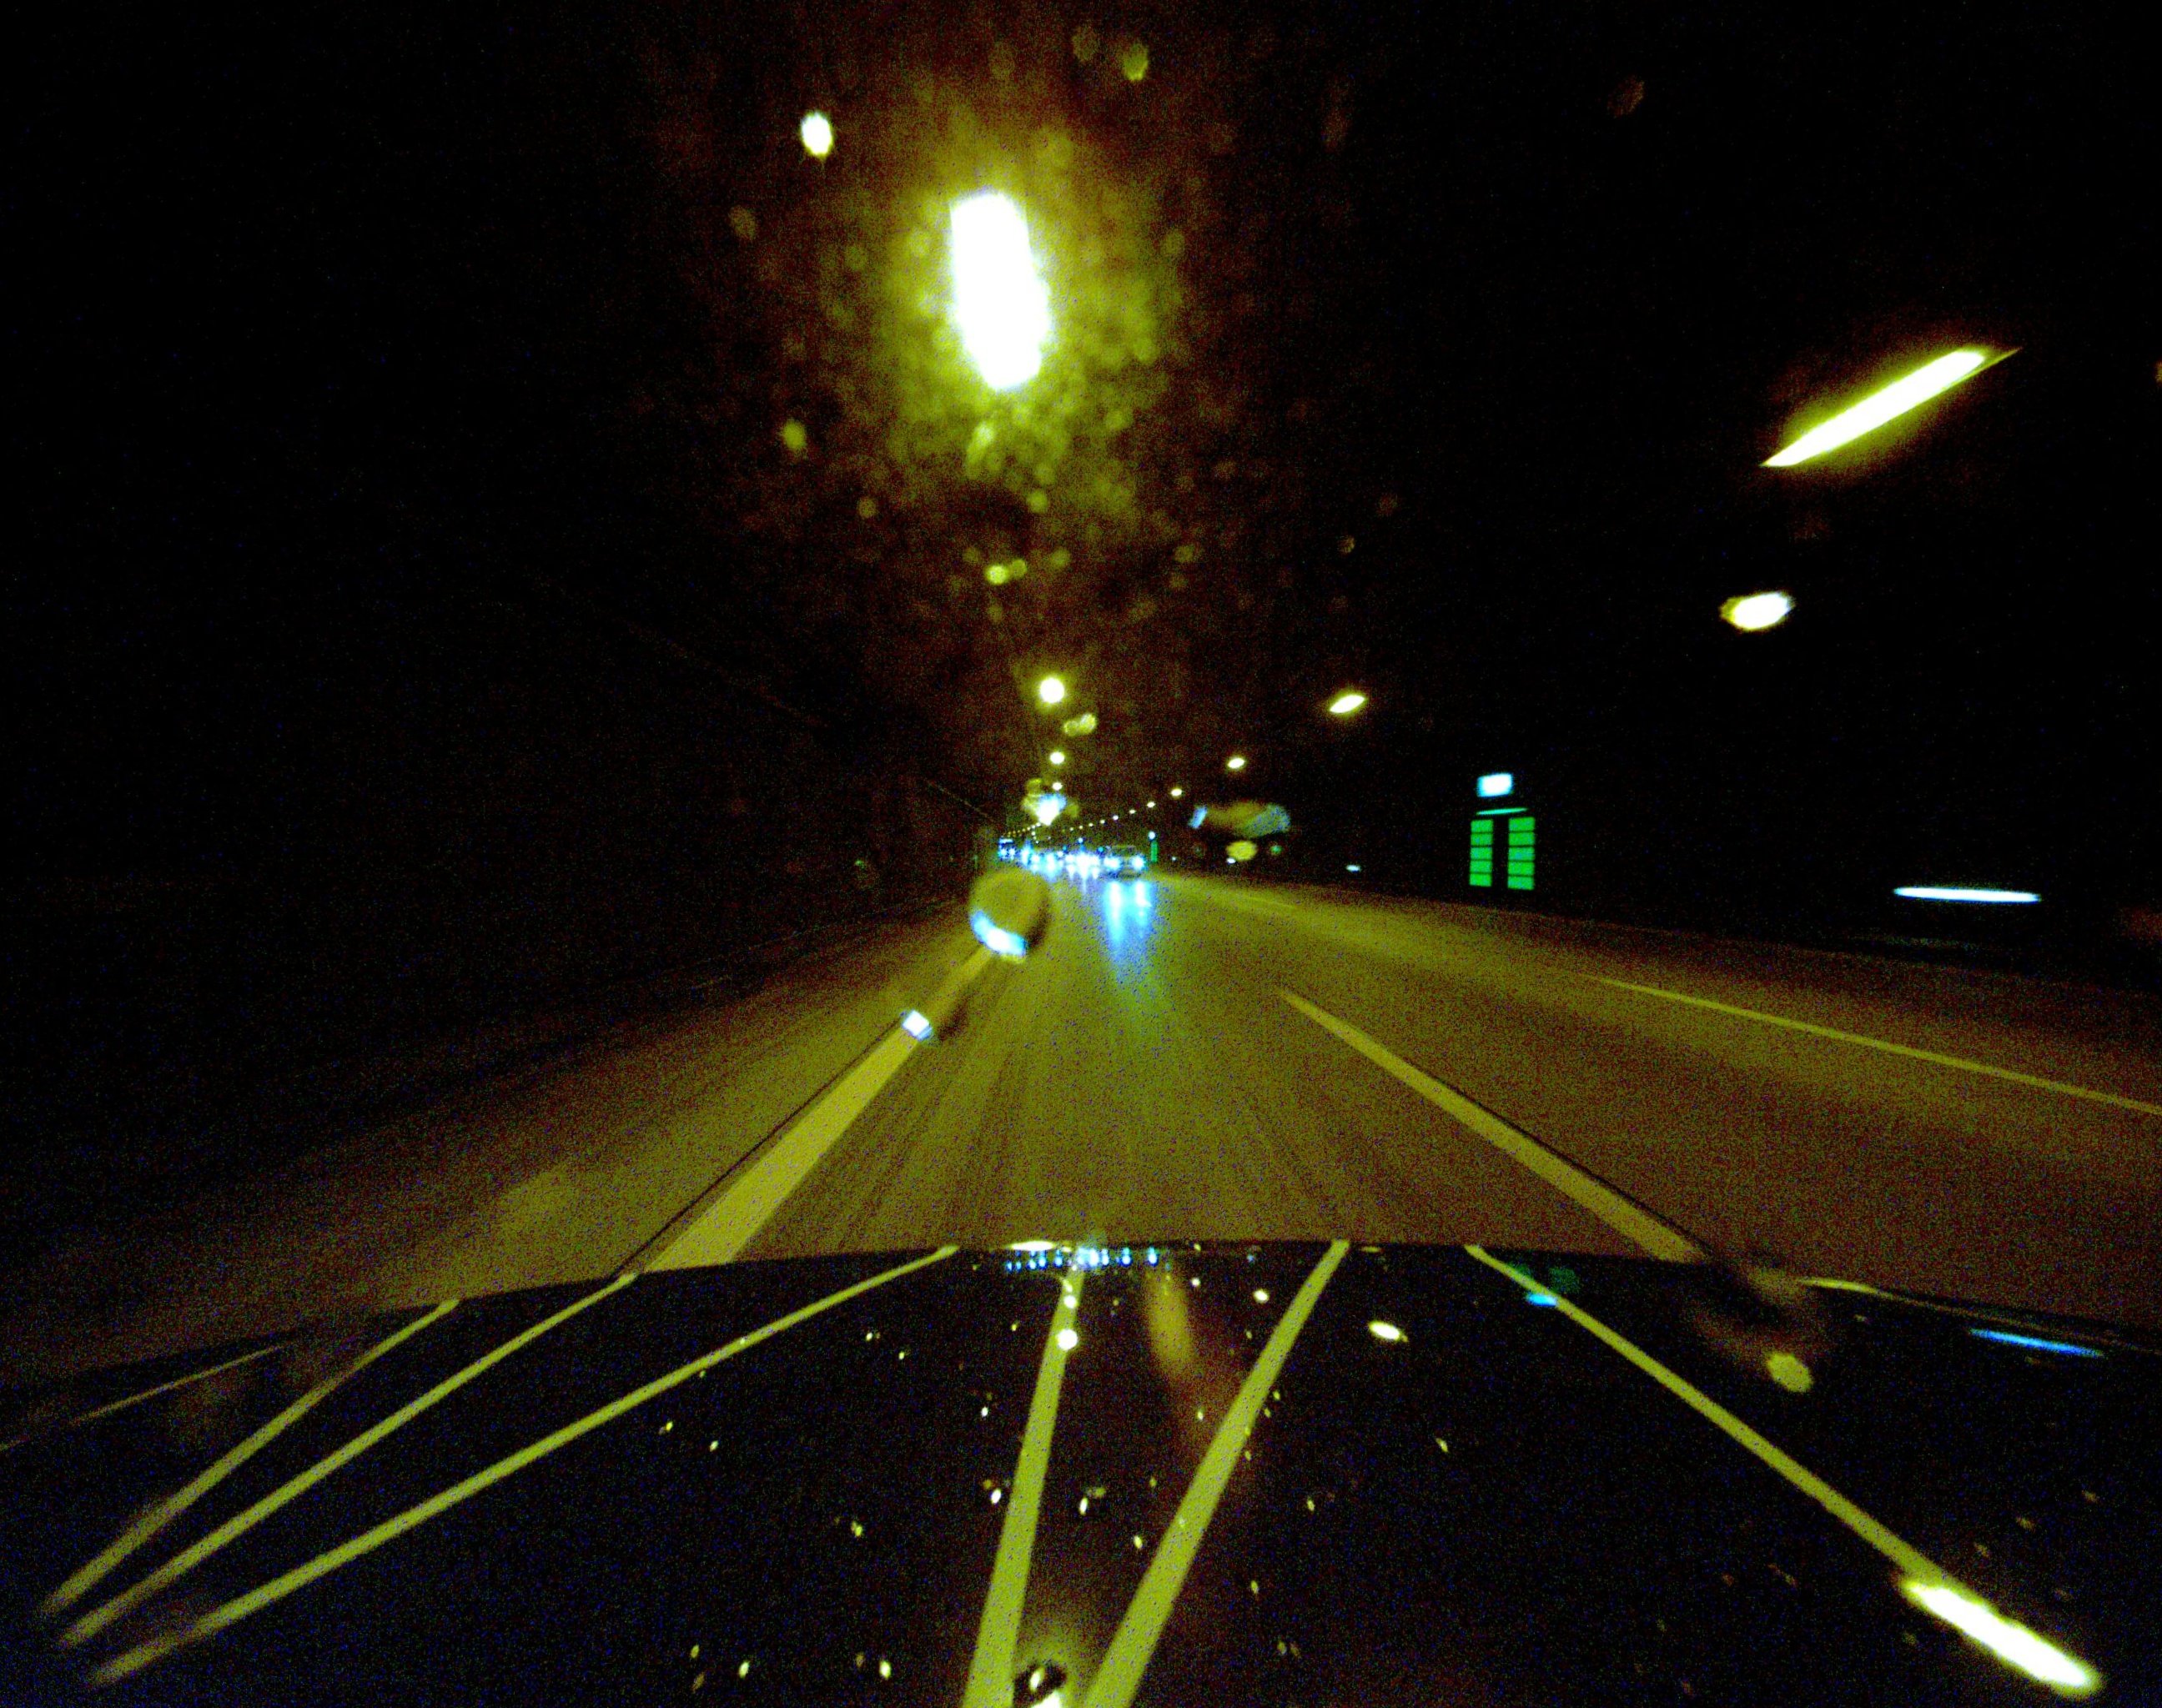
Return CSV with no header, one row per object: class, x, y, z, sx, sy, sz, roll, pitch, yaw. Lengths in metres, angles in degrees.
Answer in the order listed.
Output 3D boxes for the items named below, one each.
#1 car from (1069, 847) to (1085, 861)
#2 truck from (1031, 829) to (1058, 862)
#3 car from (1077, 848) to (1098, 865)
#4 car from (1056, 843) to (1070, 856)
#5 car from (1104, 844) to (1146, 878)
car,-0.519,-0.002,92.278,1.759,1.566,3.998,-1,0,-4
truck,-5.020,-1.216,102.347,3.144,4.137,7.382,-2,2,-6
car,0.610,0.206,76.604,1.910,1.637,3.999,-1,0,-2
car,-2.950,-0.752,122.539,1.999,2.003,3.996,-2,3,-5
car,2.705,0.451,47.892,1.999,2.001,4.359,-1,-1,-5
